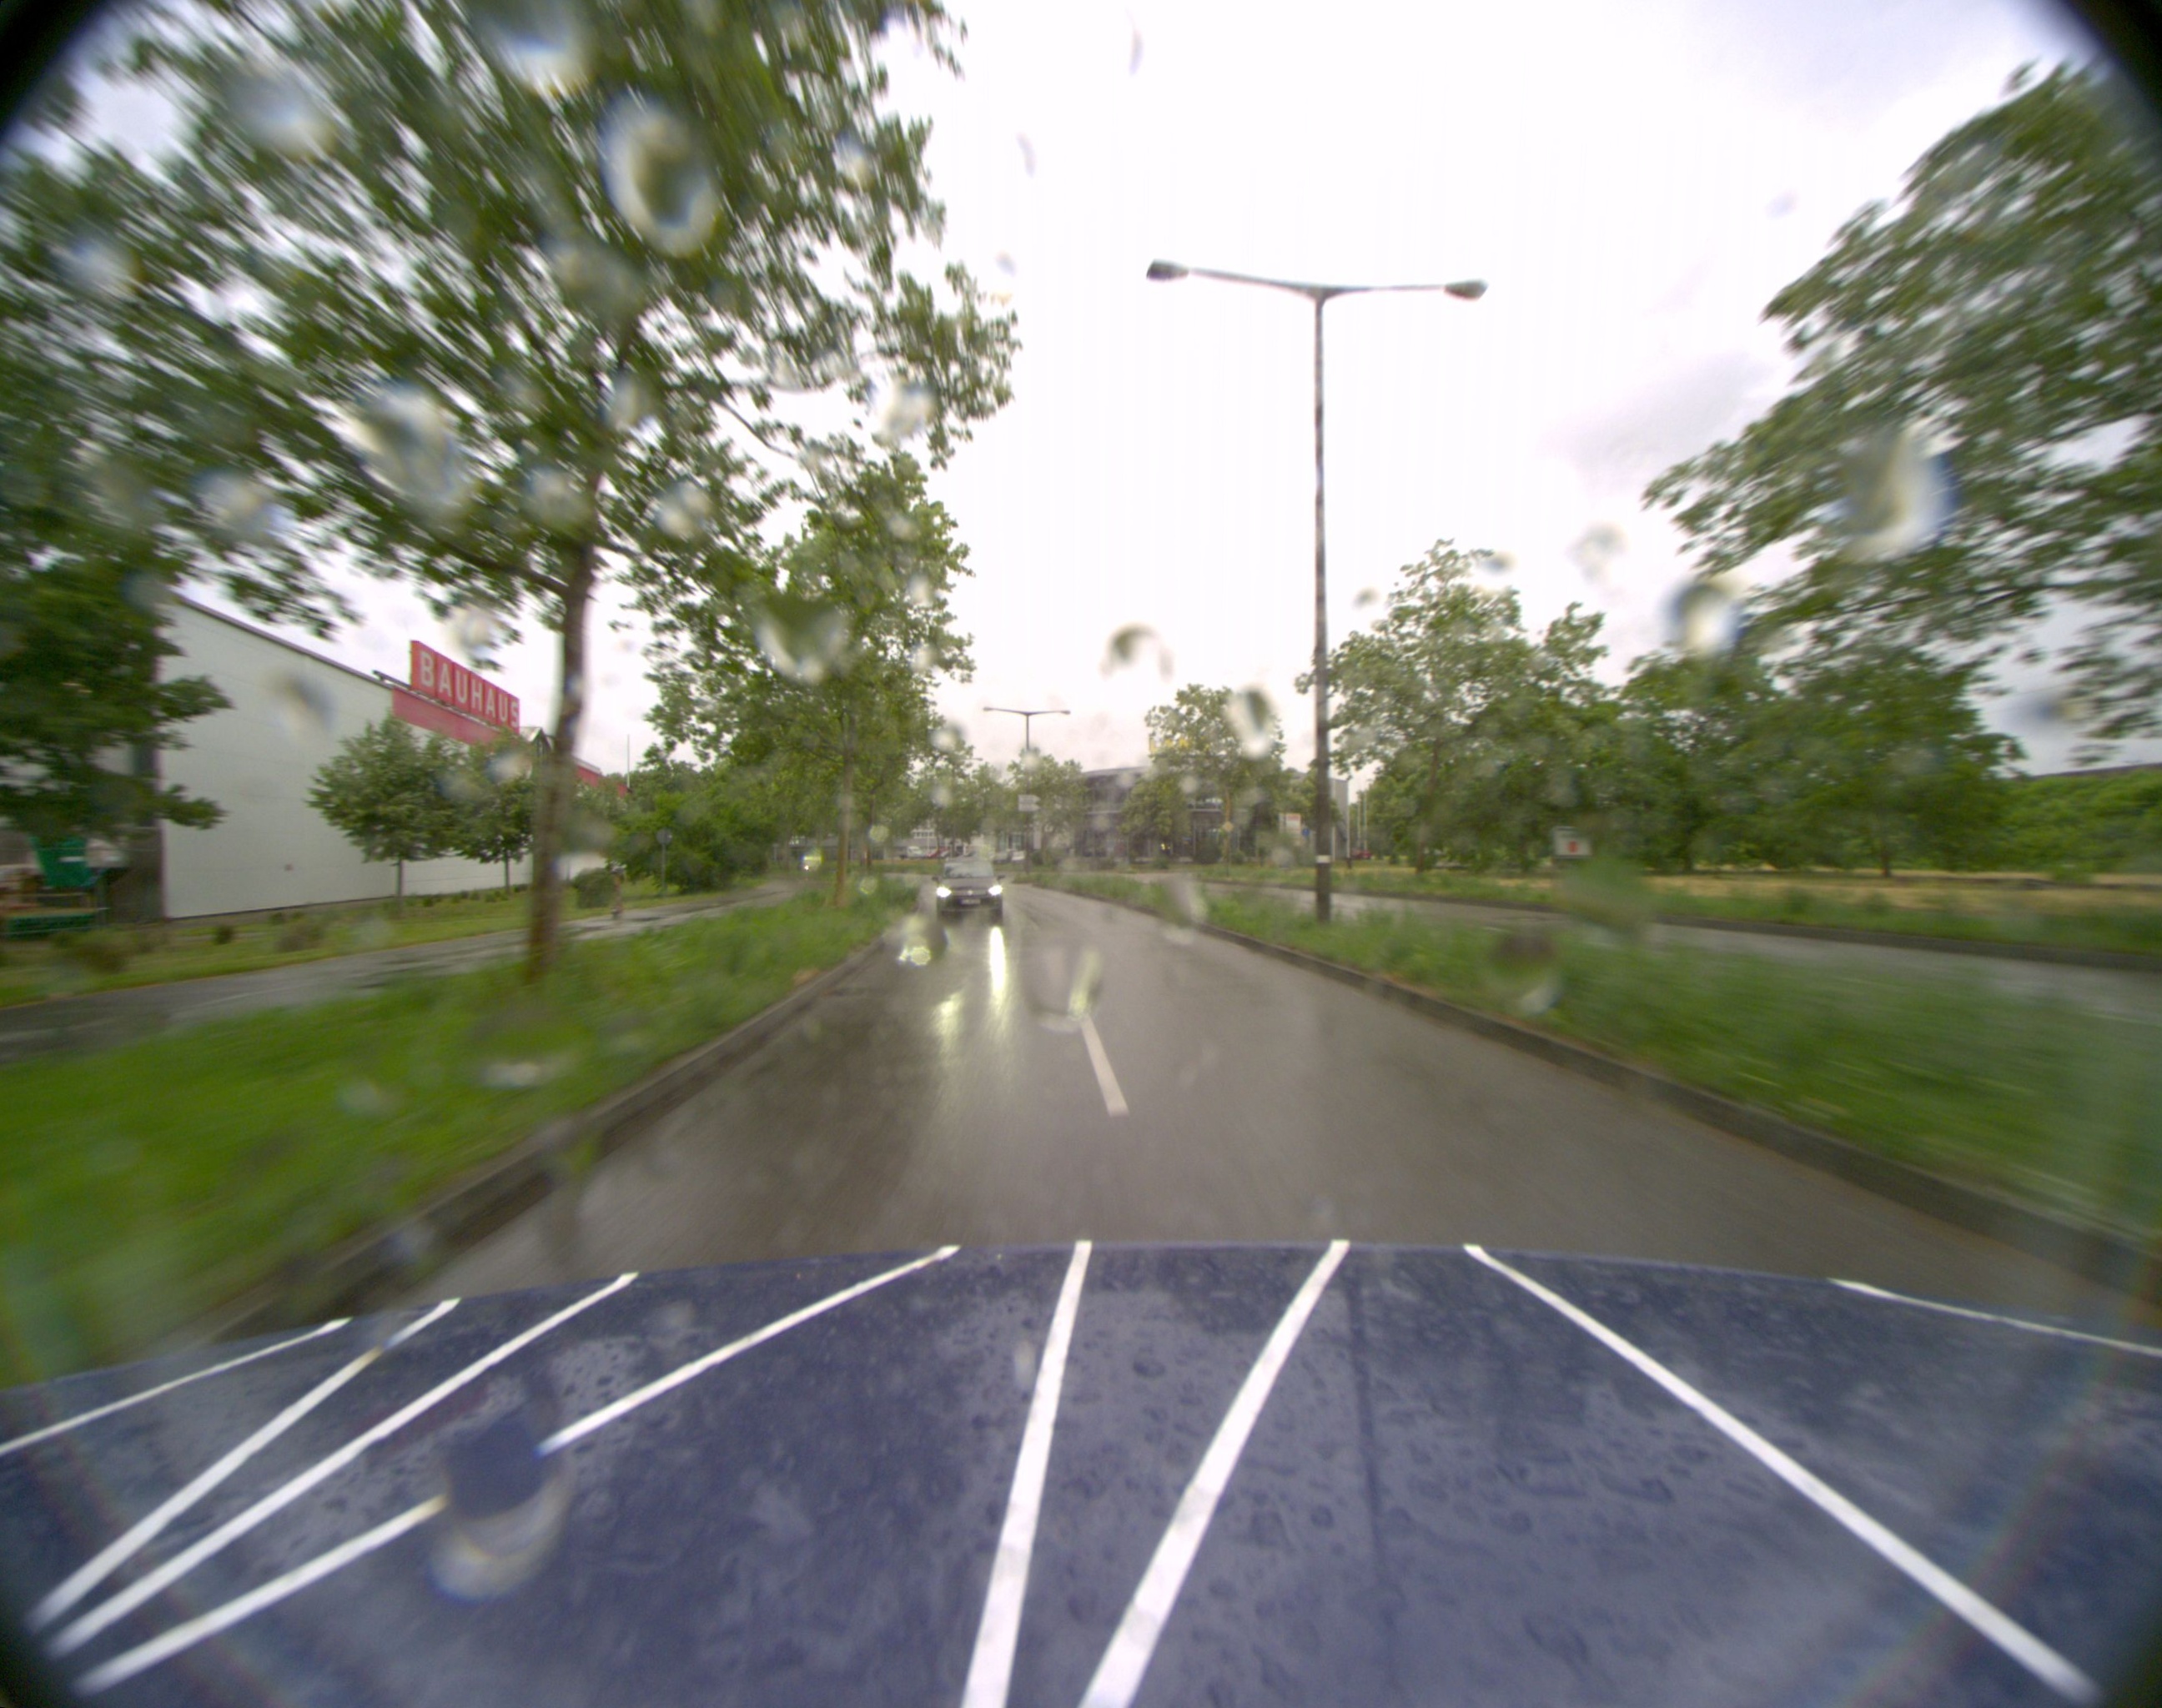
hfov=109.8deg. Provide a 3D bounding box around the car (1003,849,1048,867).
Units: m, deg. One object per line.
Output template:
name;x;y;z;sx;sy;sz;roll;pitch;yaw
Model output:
car;-5.510;0.400;75.416;4.007;1.650;1.860;-3;1;-37

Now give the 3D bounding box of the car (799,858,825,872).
car;-34.038;1.362;95.920;2.004;1.641;3.989;-2;1;-36

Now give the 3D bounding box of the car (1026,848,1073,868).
car;-2.930;0.386;71.667;4.007;1.650;1.860;-3;1;-37

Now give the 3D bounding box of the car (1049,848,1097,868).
car;-0.706;0.350;68.415;4.007;1.650;1.860;-3;1;-37

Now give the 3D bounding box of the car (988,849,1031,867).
car;-7.458;0.412;79.458;4.007;1.650;1.860;-3;1;-37

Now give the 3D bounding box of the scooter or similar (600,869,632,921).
scooter or similar;-11.954;1.032;19.564;0.451;1.267;1.598;-1;1;-23

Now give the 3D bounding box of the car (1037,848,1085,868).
car;-1.826;0.368;70.042;4.007;1.650;1.860;-3;1;-37

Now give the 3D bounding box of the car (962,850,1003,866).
car;-11.009;0.464;85.010;4.007;1.650;1.860;-3;1;-37

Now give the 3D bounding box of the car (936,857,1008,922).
car;-3.270;0.935;22.241;1.790;1.605;4.712;-3;0;-10

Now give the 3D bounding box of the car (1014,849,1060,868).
car;-4.252;0.412;73.348;4.007;1.650;1.860;-3;1;-37

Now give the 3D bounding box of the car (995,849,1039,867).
car;-6.515;0.407;77.478;4.007;1.650;1.860;-3;1;-37

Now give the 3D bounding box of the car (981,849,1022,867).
car;-8.518;0.422;81.473;4.007;1.650;1.860;-3;1;-37
